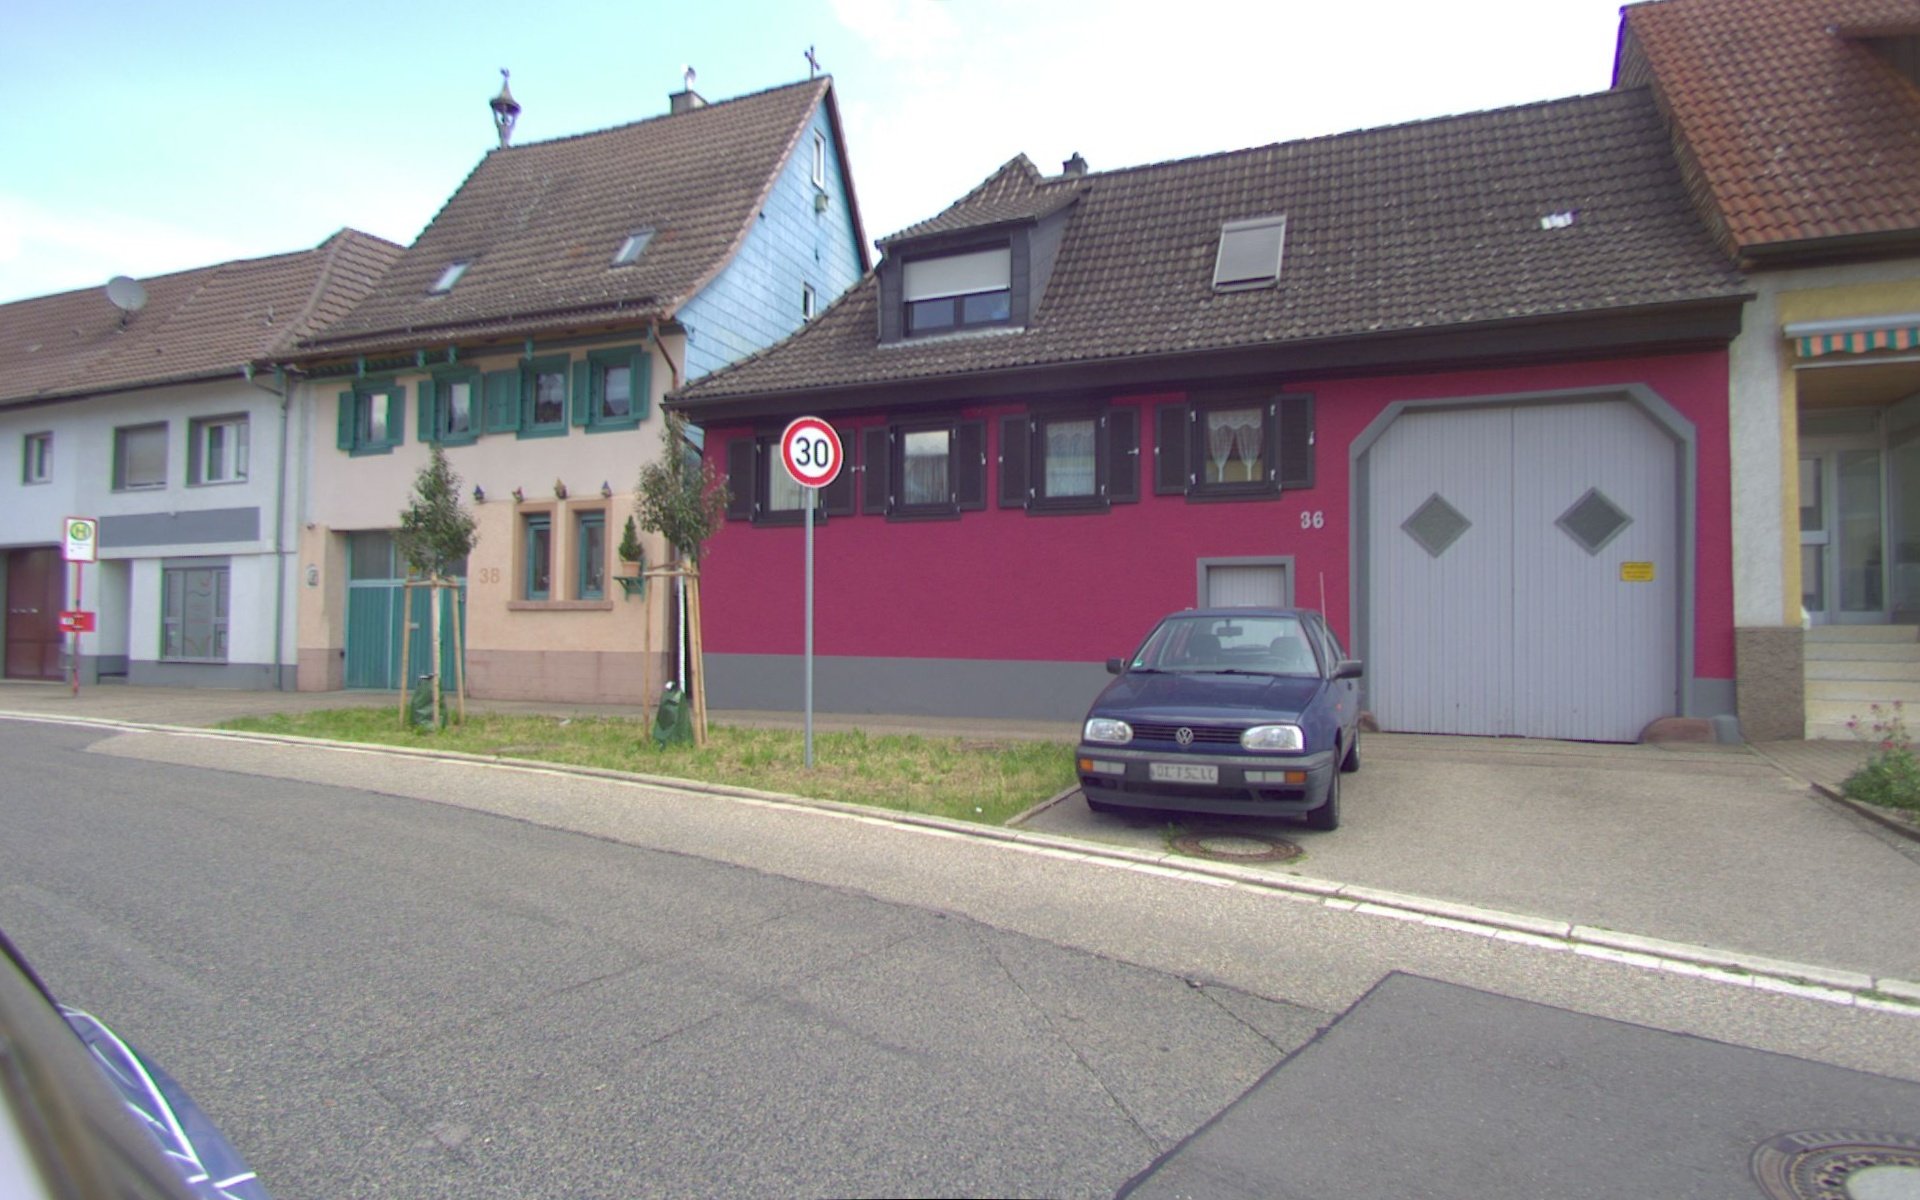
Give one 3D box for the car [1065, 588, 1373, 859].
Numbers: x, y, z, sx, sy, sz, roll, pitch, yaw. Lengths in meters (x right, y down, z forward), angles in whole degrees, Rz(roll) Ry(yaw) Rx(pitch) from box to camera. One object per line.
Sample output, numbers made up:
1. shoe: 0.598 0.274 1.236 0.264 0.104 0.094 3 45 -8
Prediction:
1. car: 2.195 0.692 7.699 1.710 1.475 3.949 -1 -1 23
